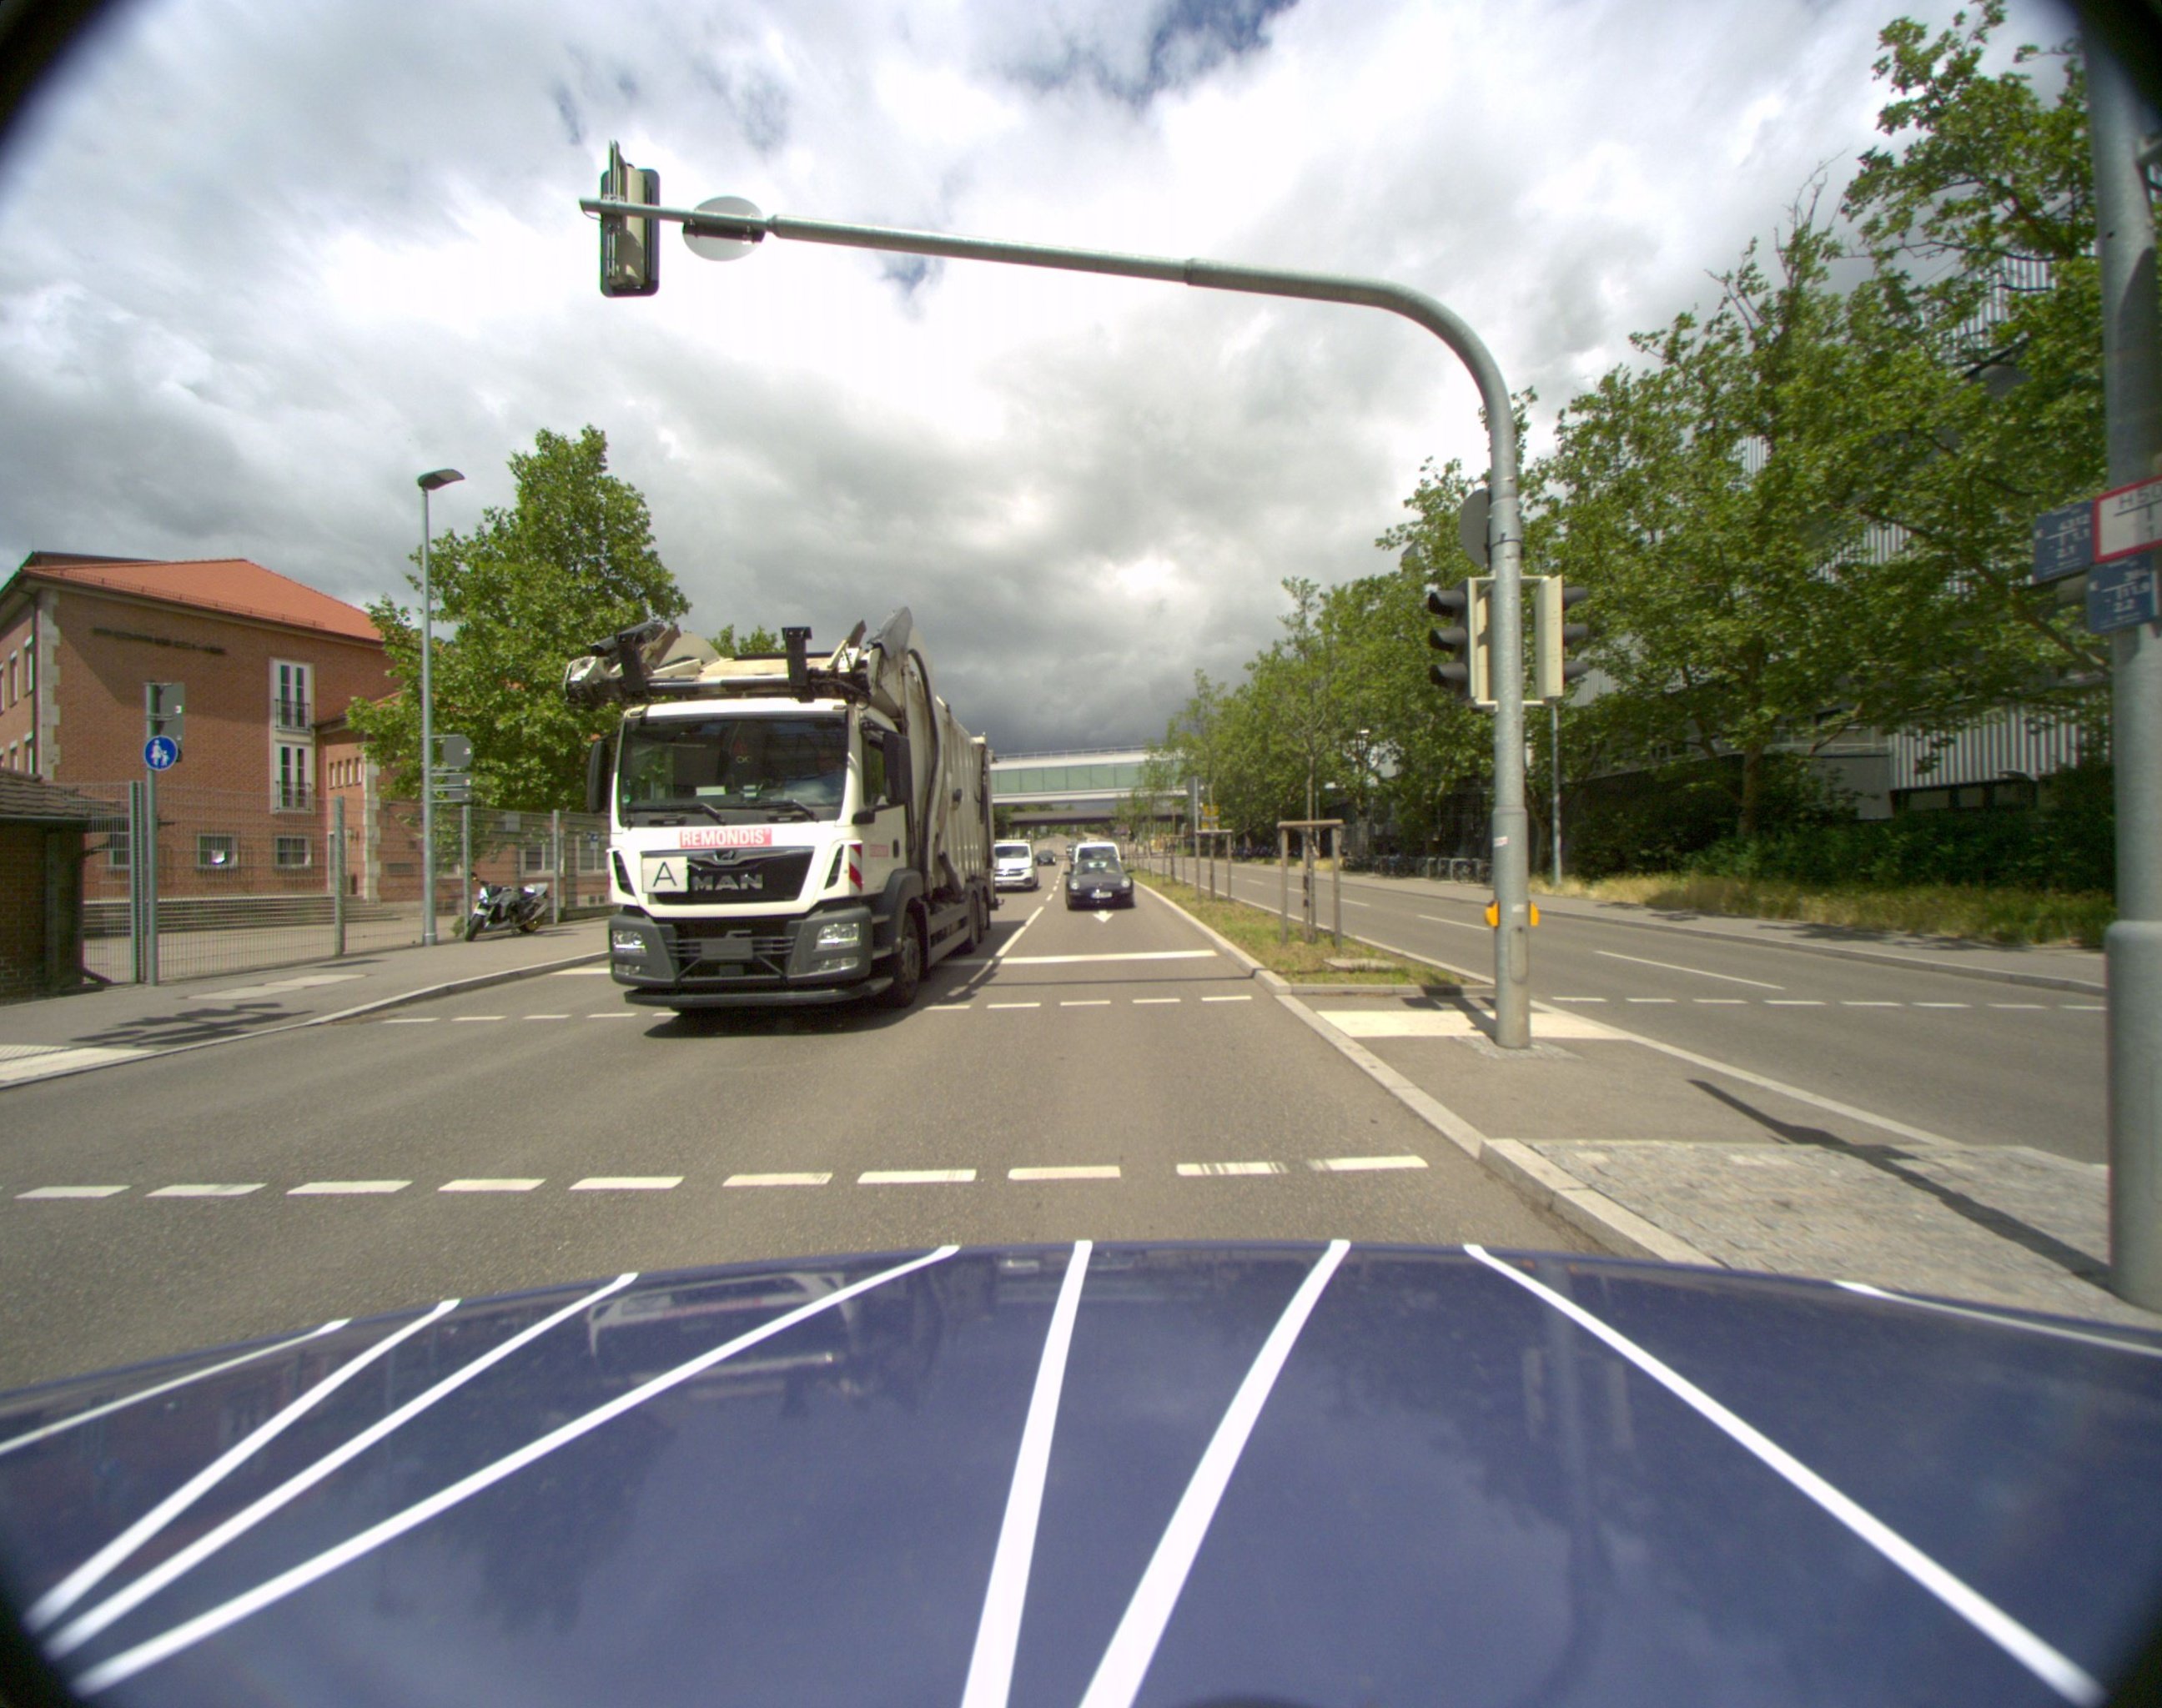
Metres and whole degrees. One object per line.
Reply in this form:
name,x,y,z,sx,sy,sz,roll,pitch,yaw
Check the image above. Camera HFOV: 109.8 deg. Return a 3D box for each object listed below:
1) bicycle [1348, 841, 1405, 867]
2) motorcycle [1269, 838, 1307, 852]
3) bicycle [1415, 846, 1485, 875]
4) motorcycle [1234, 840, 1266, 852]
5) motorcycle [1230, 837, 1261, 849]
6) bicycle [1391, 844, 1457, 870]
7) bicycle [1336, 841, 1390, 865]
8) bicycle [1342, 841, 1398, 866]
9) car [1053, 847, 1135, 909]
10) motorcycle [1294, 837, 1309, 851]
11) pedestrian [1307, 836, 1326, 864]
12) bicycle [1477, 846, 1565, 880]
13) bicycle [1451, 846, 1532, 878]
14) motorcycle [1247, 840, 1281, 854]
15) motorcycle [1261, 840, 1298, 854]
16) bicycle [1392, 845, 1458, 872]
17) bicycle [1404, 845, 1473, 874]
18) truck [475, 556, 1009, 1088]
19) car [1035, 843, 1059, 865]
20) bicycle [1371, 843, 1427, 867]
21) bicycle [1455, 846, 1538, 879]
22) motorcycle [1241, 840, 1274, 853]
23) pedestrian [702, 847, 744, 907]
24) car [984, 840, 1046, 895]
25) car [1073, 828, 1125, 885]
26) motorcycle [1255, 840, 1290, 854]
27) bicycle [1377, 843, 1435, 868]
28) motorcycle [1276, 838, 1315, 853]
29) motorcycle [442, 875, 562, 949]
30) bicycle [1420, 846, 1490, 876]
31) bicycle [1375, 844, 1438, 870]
bicycle,14.797,0.001,38.053,2.562,1.171,0.615,-2,1,1
motorcycle,16.676,-0.707,61.233,2.830,1.029,0.600,-2,-2,4
bicycle,15.113,0.245,31.131,2.563,1.079,0.615,-2,1,-2
motorcycle,15.850,-0.763,71.286,2.830,1.029,0.600,-2,-2,4
motorcycle,15.866,-1.026,73.333,2.830,1.029,0.600,-2,-2,4
bicycle,15.249,0.137,33.828,2.560,1.079,0.616,-2,1,13
bicycle,14.781,-0.054,39.866,2.562,1.171,0.615,-2,1,1
bicycle,14.775,-0.008,38.886,2.562,1.171,0.615,-2,1,1
car,0.445,0.553,20.050,1.838,1.318,4.000,-3,1,5
motorcycle,18.970,-0.861,65.387,0.599,1.029,2.591,-2,-2,3
pedestrian,13.375,-0.227,43.162,0.846,1.524,0.749,-2,1,1
bicycle,15.049,0.305,26.013,2.561,1.079,0.616,-2,1,6
bicycle,15.188,0.292,28.174,2.561,1.079,0.616,-2,1,8
motorcycle,15.862,-0.607,65.947,2.830,1.029,0.600,-2,-2,4
motorcycle,16.331,-0.595,62.609,2.830,1.029,0.600,-2,-2,4
bicycle,14.914,0.185,32.982,2.561,1.079,0.628,-2,1,4
bicycle,15.002,0.229,31.918,2.562,1.079,0.615,-2,1,-1
truck,-3.025,-0.282,11.031,2.713,3.863,10.739,-2,1,0
car,-3.278,-0.038,73.992,1.871,1.944,4.711,-3,1,2
bicycle,15.418,0.056,36.911,2.411,1.079,0.616,-2,1,11
bicycle,14.864,0.298,27.234,2.561,1.079,0.616,-2,1,6
motorcycle,15.943,-0.699,68.546,2.830,1.029,0.600,-2,-2,4
pedestrian,-10.966,0.693,23.283,0.729,1.756,1.015,-2,1,0
car,-2.570,0.467,30.735,1.871,1.944,4.711,-3,1,2
car,0.723,0.136,29.272,1.824,2.001,4.393,-1,-1,2
motorcycle,16.312,-0.618,64.749,2.830,1.029,0.600,-2,-2,6
bicycle,15.261,0.076,35.702,2.413,1.079,0.615,-2,1,0
motorcycle,16.674,-0.684,59.226,2.830,1.029,0.600,-2,-2,4
motorcycle,-10.853,1.040,14.348,0.570,1.219,2.175,0,1,1
bicycle,14.897,0.263,30.273,2.564,1.079,0.615,-2,1,-8
bicycle,14.948,0.125,34.916,2.561,1.079,0.616,-2,1,6
